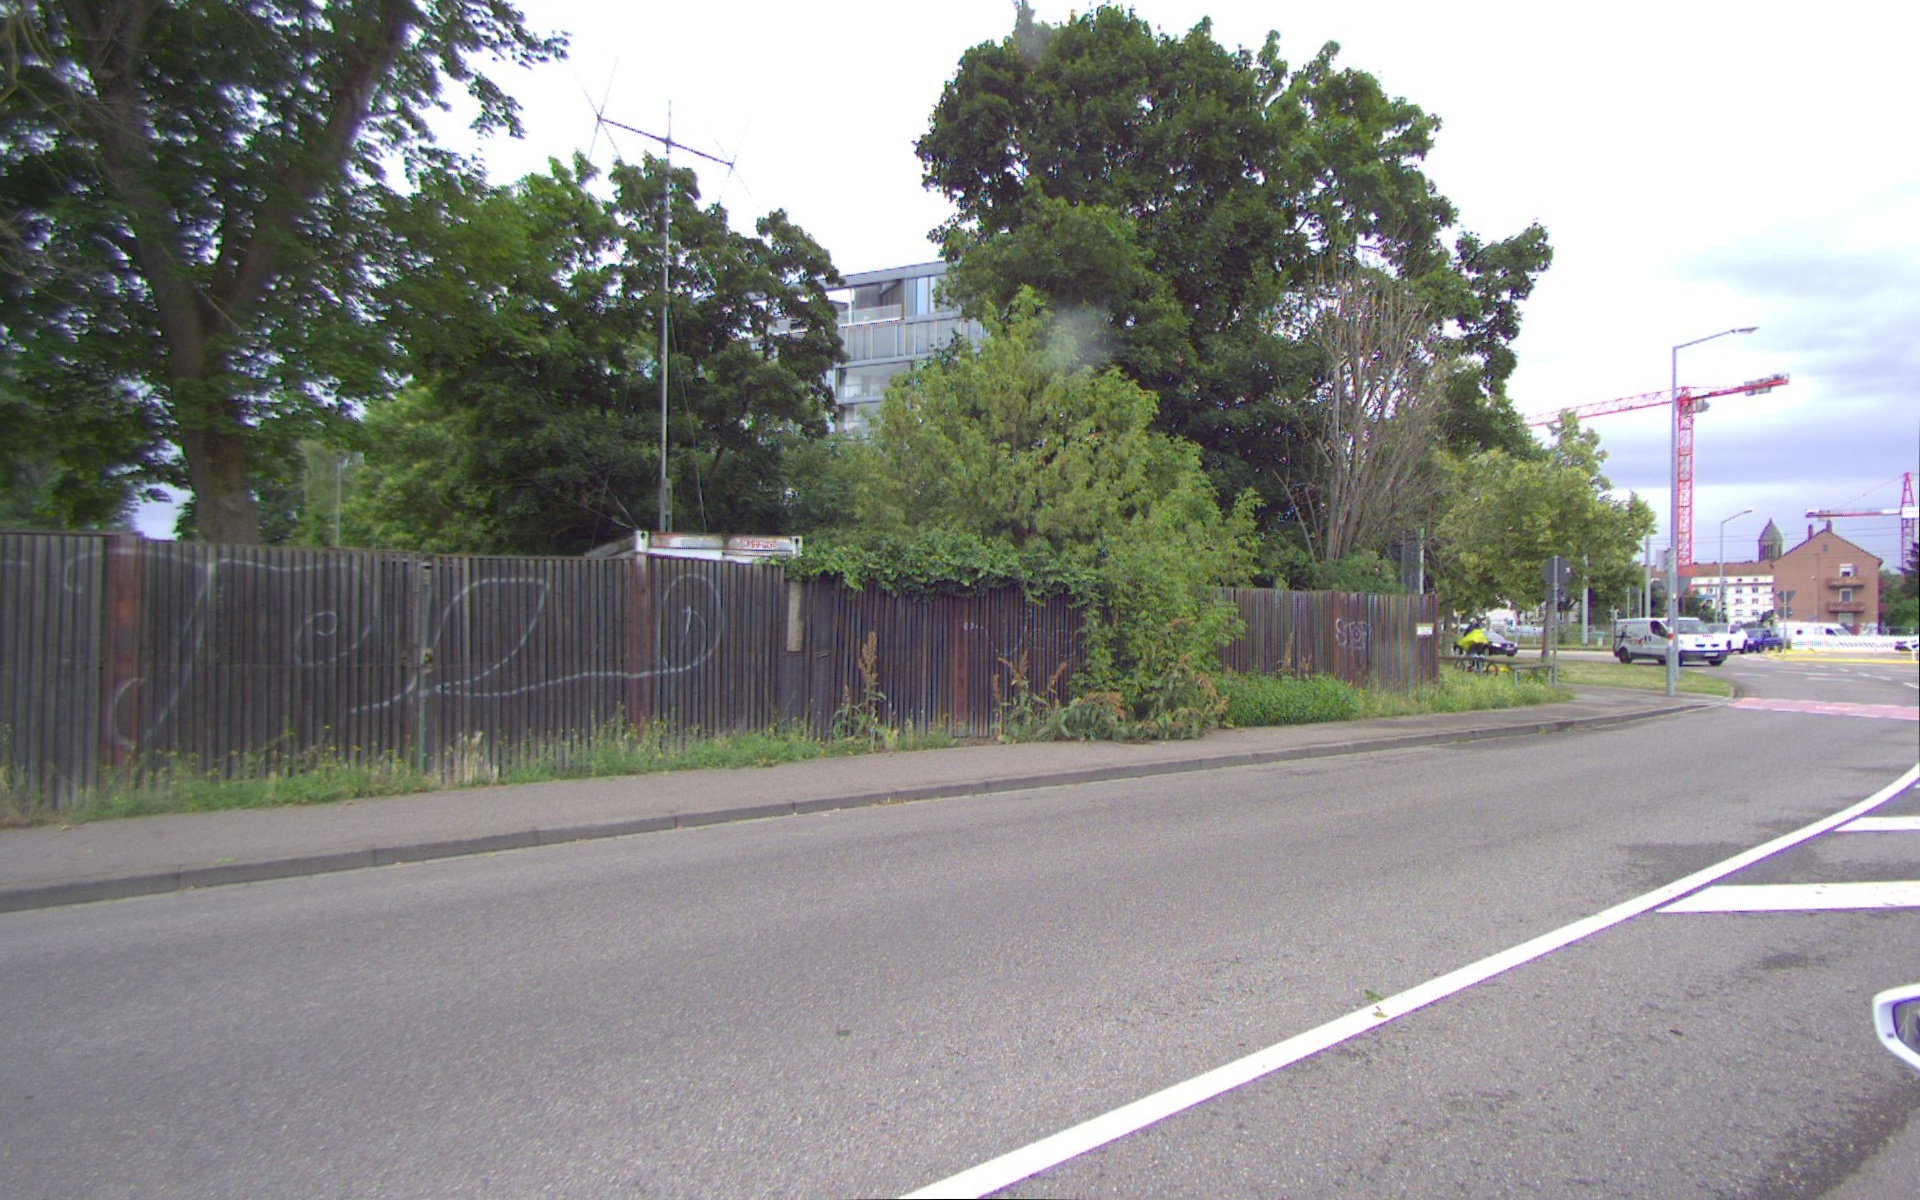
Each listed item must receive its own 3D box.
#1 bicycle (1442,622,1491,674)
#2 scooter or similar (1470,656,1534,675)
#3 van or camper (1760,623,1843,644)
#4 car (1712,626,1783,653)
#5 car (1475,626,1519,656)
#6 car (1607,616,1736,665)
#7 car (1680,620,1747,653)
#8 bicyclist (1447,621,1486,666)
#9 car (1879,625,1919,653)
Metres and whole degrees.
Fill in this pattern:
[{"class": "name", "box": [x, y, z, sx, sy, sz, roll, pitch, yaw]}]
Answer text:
[{"class": "bicycle", "box": [16.263, 1.514, 32.265, 0.595, 1.633, 1.478, 1, -1, -13]}, {"class": "scooter or similar", "box": [16.546, 1.998, 30.702, 0.908, 0.511, 1.609, 1, -1, -12]}, {"class": "van or camper", "box": [82.615, 3.268, 98.773, 1.969, 2.040, 6.171, 1, -1, -19]}, {"class": "car", "box": [45.694, 2.250, 58.245, 3.953, 1.509, 1.922, 1, -1, -30]}, {"class": "car", "box": [30.151, 2.255, 56.487, 2.060, 1.624, 4.436, 0, -1, 26]}, {"class": "car", "box": [29.775, 1.646, 42.271, 2.057, 1.925, 4.850, 0, -1, 1]}, {"class": "car", "box": [40.741, 1.973, 54.287, 4.152, 1.706, 1.916, 1, -1, -38]}, {"class": "bicyclist", "box": [16.267, 1.390, 32.282, 0.604, 1.420, 1.062, 1, -1, -13]}, {"class": "car", "box": [58.975, 2.365, 60.797, 4.580, 1.656, 2.001, 0, -1, 8]}]
